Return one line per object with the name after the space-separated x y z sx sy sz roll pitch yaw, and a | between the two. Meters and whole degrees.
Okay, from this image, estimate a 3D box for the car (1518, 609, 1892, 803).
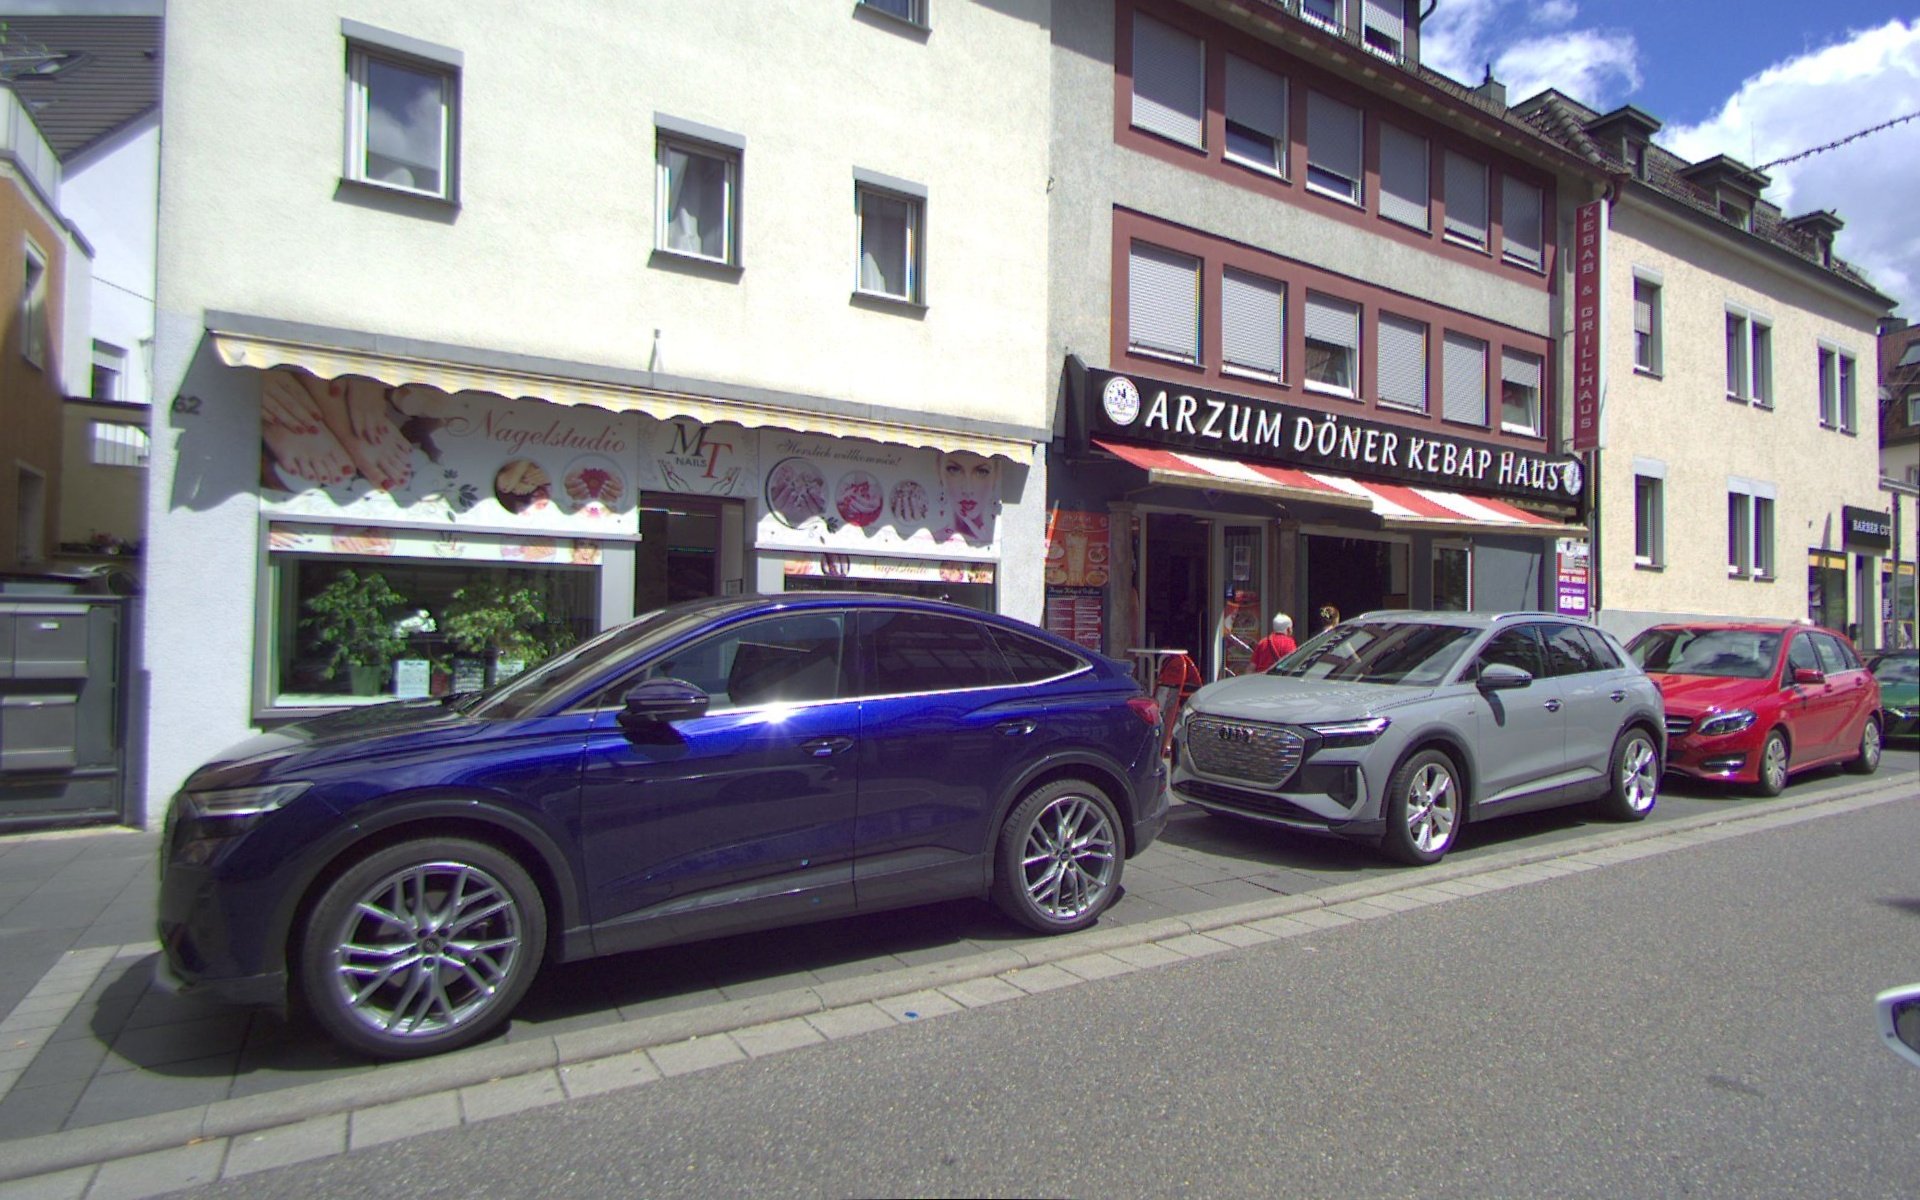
7.740 0.954 10.339 4.174 1.625 1.789 1 -2 -34 | car

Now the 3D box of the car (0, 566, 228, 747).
-9.607 0.518 11.105 1.977 1.661 3.968 2 -1 -30 | car

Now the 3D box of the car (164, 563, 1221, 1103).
-0.951 0.751 4.904 4.337 1.619 1.791 1 -1 -30 | car

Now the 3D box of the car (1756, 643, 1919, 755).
13.014 1.266 13.779 4.471 1.240 1.810 1 0 -31 | car

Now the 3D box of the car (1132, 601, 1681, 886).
3.523 0.882 7.674 4.304 1.625 1.789 1 -2 -33 | car

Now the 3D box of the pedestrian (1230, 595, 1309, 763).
3.189 0.796 10.360 0.568 1.670 0.498 2 0 -32 | pedestrian

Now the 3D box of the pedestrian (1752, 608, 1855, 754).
10.084 0.947 12.012 0.769 1.670 0.683 2 0 -28 | pedestrian

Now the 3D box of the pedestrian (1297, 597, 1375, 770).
3.746 0.811 10.020 0.466 1.670 0.511 2 0 -32 | pedestrian
